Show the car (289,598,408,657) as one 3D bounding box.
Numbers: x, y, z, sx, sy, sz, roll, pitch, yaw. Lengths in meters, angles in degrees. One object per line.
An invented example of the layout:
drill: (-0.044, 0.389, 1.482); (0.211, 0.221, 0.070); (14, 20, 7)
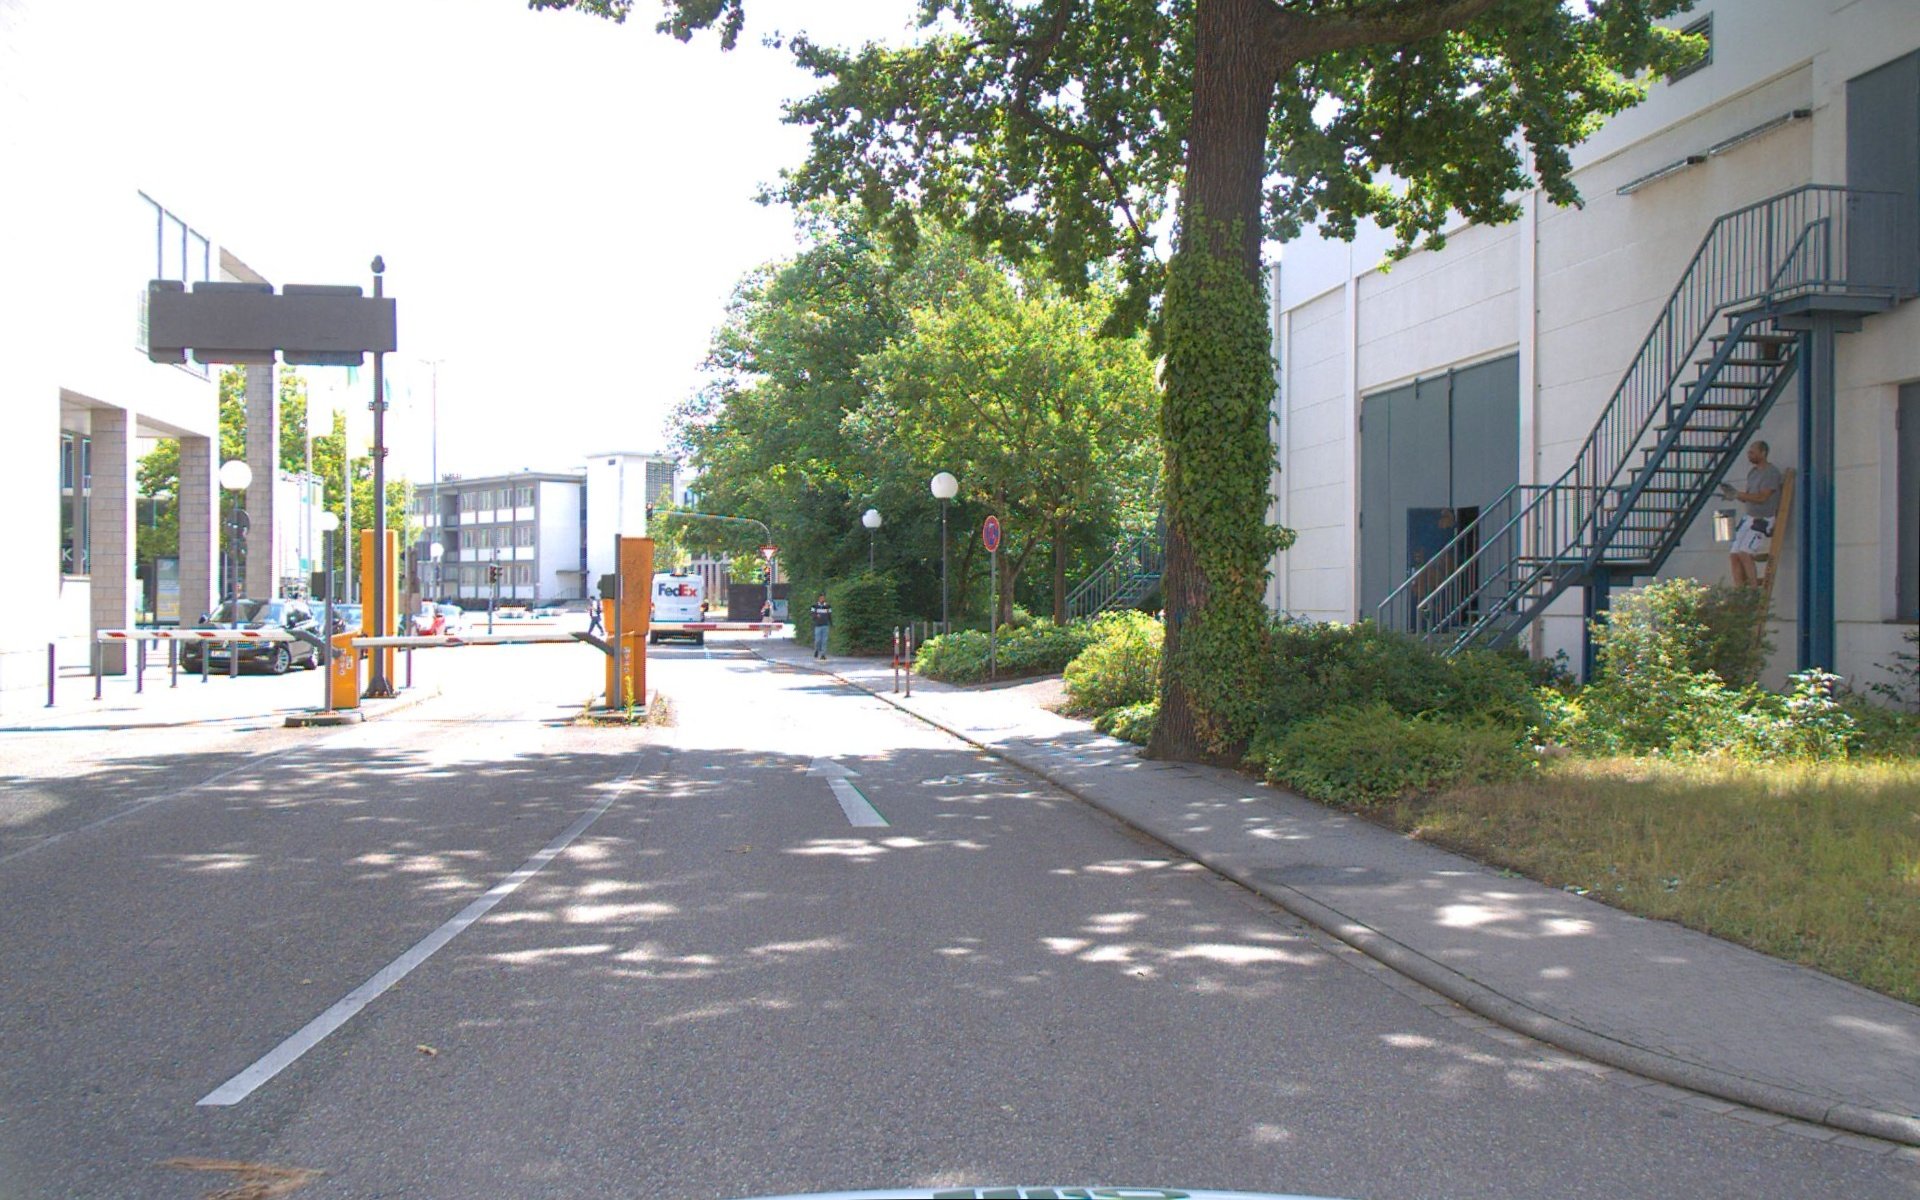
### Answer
car: (-16.038, 0.692, 43.623); (1.824, 1.402, 5.007); (2, 0, -8)

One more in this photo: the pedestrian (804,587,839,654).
pedestrian: (-3.581, 0.528, 42.680); (0.726, 1.704, 1.252); (0, 0, -13)

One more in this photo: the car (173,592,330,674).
car: (-14.368, 0.640, 33.801); (1.825, 1.493, 4.708); (2, 0, -10)

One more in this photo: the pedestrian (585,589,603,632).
pedestrian: (-16.445, 0.466, 74.291); (0.706, 1.892, 0.768); (0, 0, -8)

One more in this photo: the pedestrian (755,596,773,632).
pedestrian: (-8.847, 0.620, 74.647); (0.719, 1.603, 0.772); (2, -1, -15)

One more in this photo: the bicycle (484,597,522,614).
bicycle: (-38.018, 0.482, 137.627); (1.097, 1.387, 2.946); (0, -1, 43)

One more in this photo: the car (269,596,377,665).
car: (-15.053, 0.685, 39.245); (1.609, 1.493, 3.698); (2, 0, -10)

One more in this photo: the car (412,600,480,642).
car: (-18.914, 0.734, 60.998); (1.646, 1.420, 4.652); (2, 0, -9)

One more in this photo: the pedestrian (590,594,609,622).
pedestrian: (-27.083, 0.597, 124.288); (1.116, 2.049, 1.156); (0, 0, 4)

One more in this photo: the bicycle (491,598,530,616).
bicycle: (-37.123, 0.598, 136.669); (1.097, 1.387, 2.946); (0, -1, 43)

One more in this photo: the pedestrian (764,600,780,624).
pedestrian: (-12.130, 0.774, 106.771); (0.816, 1.550, 0.807); (1, 0, -29)

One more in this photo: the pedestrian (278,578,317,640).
pedestrian: (-22.088, 0.302, 55.130); (0.884, 2.063, 0.798); (0, 0, 20)

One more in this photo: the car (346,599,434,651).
car: (-17.552, 0.742, 51.114); (1.715, 1.493, 4.189); (2, 0, -8)

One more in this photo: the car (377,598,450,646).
car: (-18.447, 0.732, 55.932); (1.646, 1.493, 3.903); (2, 0, -9)

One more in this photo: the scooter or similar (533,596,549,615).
scooter or similar: (-26.785, 0.356, 105.750); (0.706, 1.199, 2.709); (1, 0, -20)

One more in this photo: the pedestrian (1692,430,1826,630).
pedestrian: (8.408, -0.715, 17.443); (0.909, 2.049, 0.948); (0, 0, -6)

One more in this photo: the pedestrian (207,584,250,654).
pedestrian: (-21.825, 0.565, 49.385); (0.967, 2.049, 1.161); (0, 0, -14)

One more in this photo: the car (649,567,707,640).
car: (-10.652, 0.120, 62.478); (2.057, 2.611, 5.588); (0, 0, -10)
